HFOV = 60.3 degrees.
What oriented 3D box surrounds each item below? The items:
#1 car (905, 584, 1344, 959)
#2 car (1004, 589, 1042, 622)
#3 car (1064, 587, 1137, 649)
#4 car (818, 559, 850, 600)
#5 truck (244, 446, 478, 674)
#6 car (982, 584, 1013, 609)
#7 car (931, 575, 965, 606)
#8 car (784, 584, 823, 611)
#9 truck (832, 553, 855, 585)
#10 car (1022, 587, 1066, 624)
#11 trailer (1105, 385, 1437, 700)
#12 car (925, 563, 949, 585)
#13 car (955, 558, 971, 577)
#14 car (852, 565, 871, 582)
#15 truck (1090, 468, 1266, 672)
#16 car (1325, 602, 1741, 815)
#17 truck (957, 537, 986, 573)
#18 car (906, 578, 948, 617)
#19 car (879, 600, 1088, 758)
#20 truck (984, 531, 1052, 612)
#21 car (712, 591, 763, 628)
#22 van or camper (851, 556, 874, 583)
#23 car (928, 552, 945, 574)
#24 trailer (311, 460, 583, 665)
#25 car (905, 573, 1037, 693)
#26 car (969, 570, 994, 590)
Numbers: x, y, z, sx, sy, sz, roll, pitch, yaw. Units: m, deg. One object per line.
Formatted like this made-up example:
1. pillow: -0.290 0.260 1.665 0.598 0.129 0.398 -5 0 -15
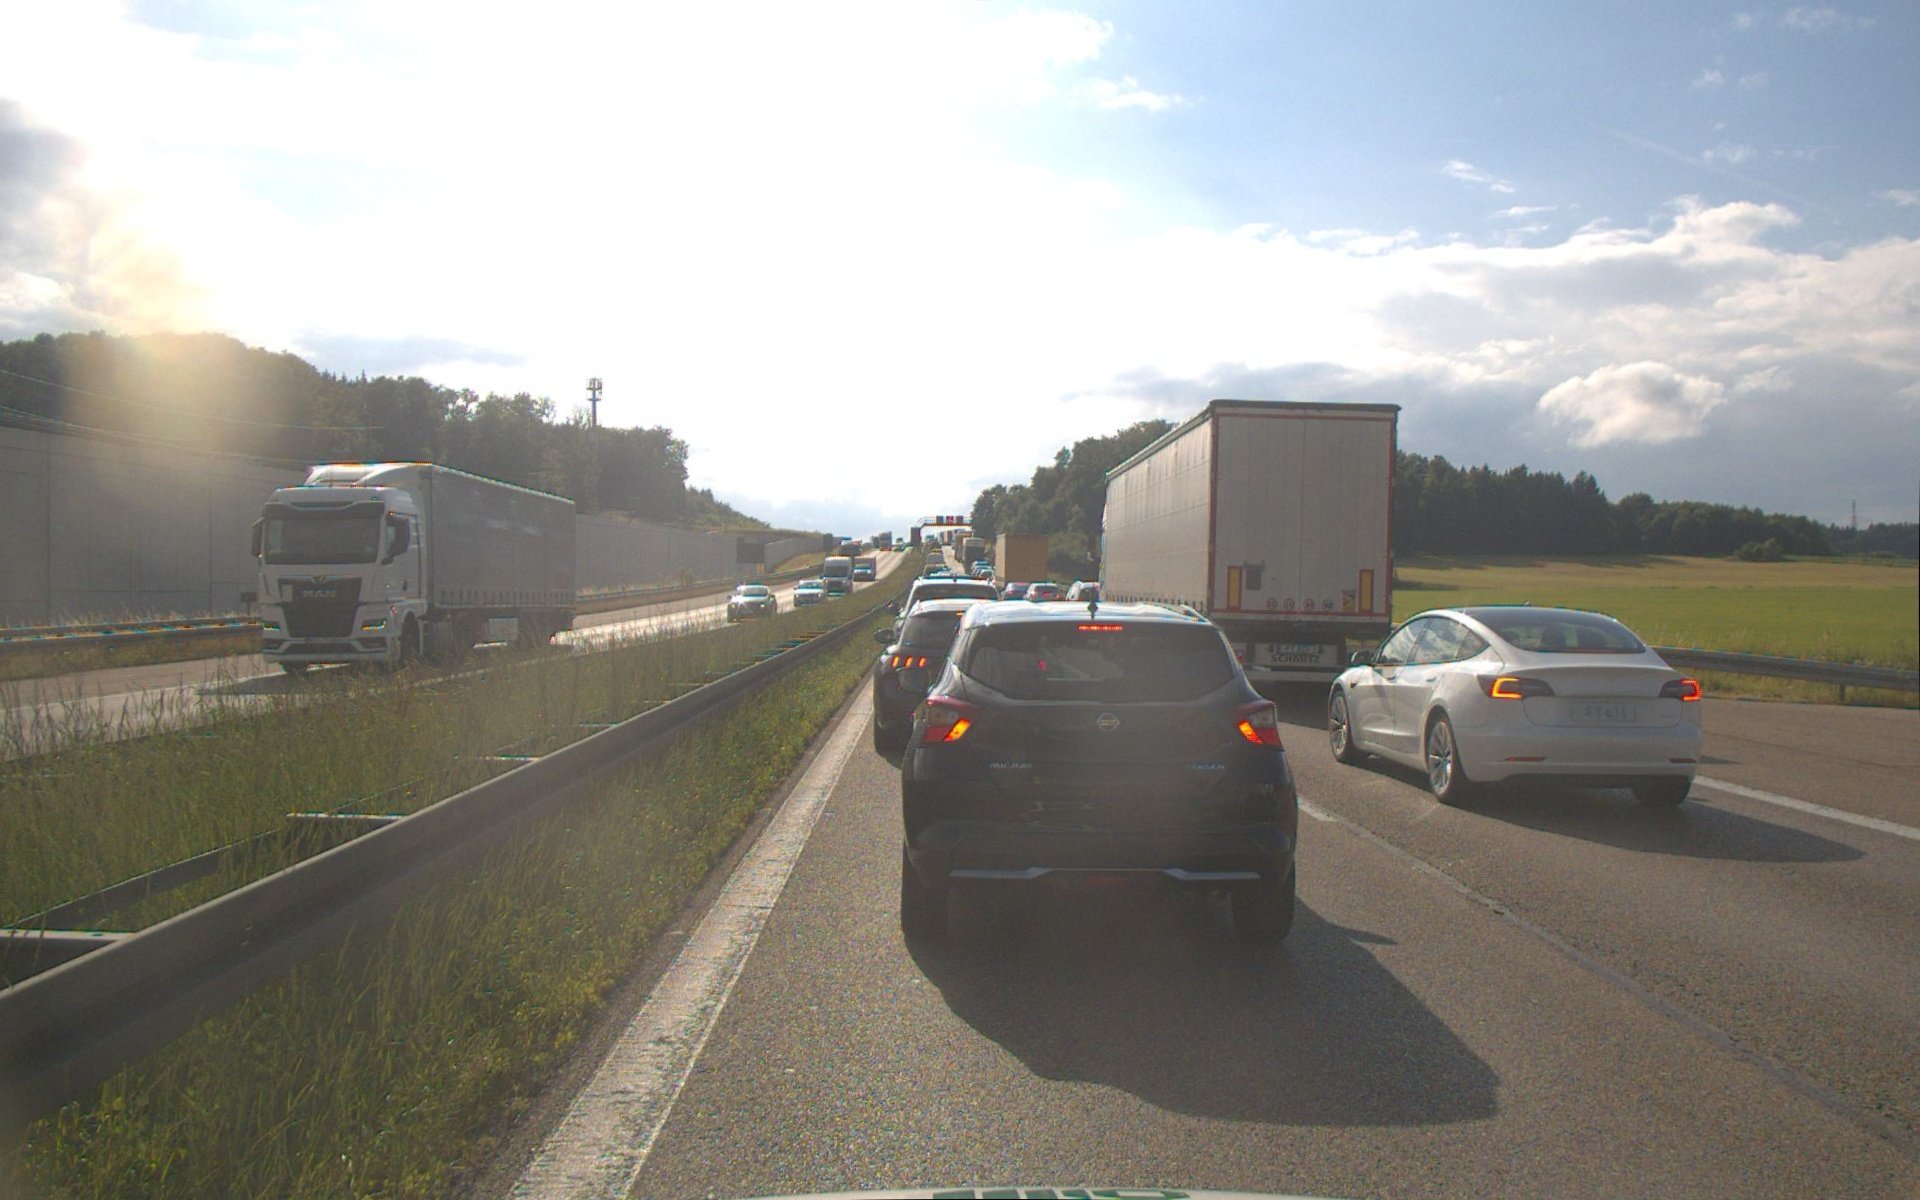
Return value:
1. car: 0.626 0.674 8.655 1.737 1.476 4.231 0 0 -1
2. car: 3.352 0.280 88.614 1.835 1.673 4.231 0 1 -1
3. car: 3.846 0.471 45.735 1.663 1.639 4.436 0 0 0
4. car: -9.174 -1.480 120.761 2.061 2.920 5.634 0 0 -2
5. truck: -11.904 -0.749 33.418 2.720 4.159 5.530 -2 0 -1
6. car: 2.510 -0.266 112.554 1.836 1.673 4.230 0 1 -3
7. car: -0.685 -0.550 93.309 1.835 1.673 4.232 0 2 -1
8. car: -8.884 -0.147 94.195 1.835 1.476 4.231 0 0 -1
9. truck: -14.925 -3.949 212.152 2.530 3.991 5.721 -1 0 -1
10. car: 4.003 0.237 79.122 1.835 1.673 4.232 0 1 -1
11. trailer: 4.668 -0.663 28.361 3.067 4.081 13.364 1 -1 0
12. car: -1.868 -2.093 133.080 1.835 1.673 4.231 0 2 -2
13. car: 0.354 -3.966 201.560 1.835 2.196 5.211 0 3 -1
14. car: -10.131 -2.746 170.126 1.872 1.700 4.361 0 1 -2
15. truck: 4.616 -0.576 35.995 3.070 4.086 5.162 1 -1 -1
16. car: 4.404 0.740 13.503 1.752 1.418 4.435 0 0 -2
17. truck: 1.541 -6.157 226.897 3.395 4.656 12.437 1 1 -2
18. car: -1.488 -0.134 74.954 1.835 1.673 4.232 0 1 -1
19. car: 0.177 0.697 16.640 1.835 1.381 4.231 0 0 -1
20. truck: 3.462 -1.608 102.171 3.231 4.657 12.434 1 0 -2
21. car: -9.131 0.374 68.108 1.618 1.476 3.955 0 0 -1
22. van or camper: -10.353 -3.211 175.891 2.207 2.751 7.168 0 0 -2
23. car: -2.532 -3.984 176.923 1.835 2.196 5.211 0 3 -1
24. trailer: -12.094 -0.768 40.799 2.734 4.148 13.516 -1 0 -2
25. car: 0.125 0.460 25.121 1.835 1.673 4.231 0 0 -1
26. car: 1.872 -1.750 144.293 1.836 1.673 4.229 0 2 -4
